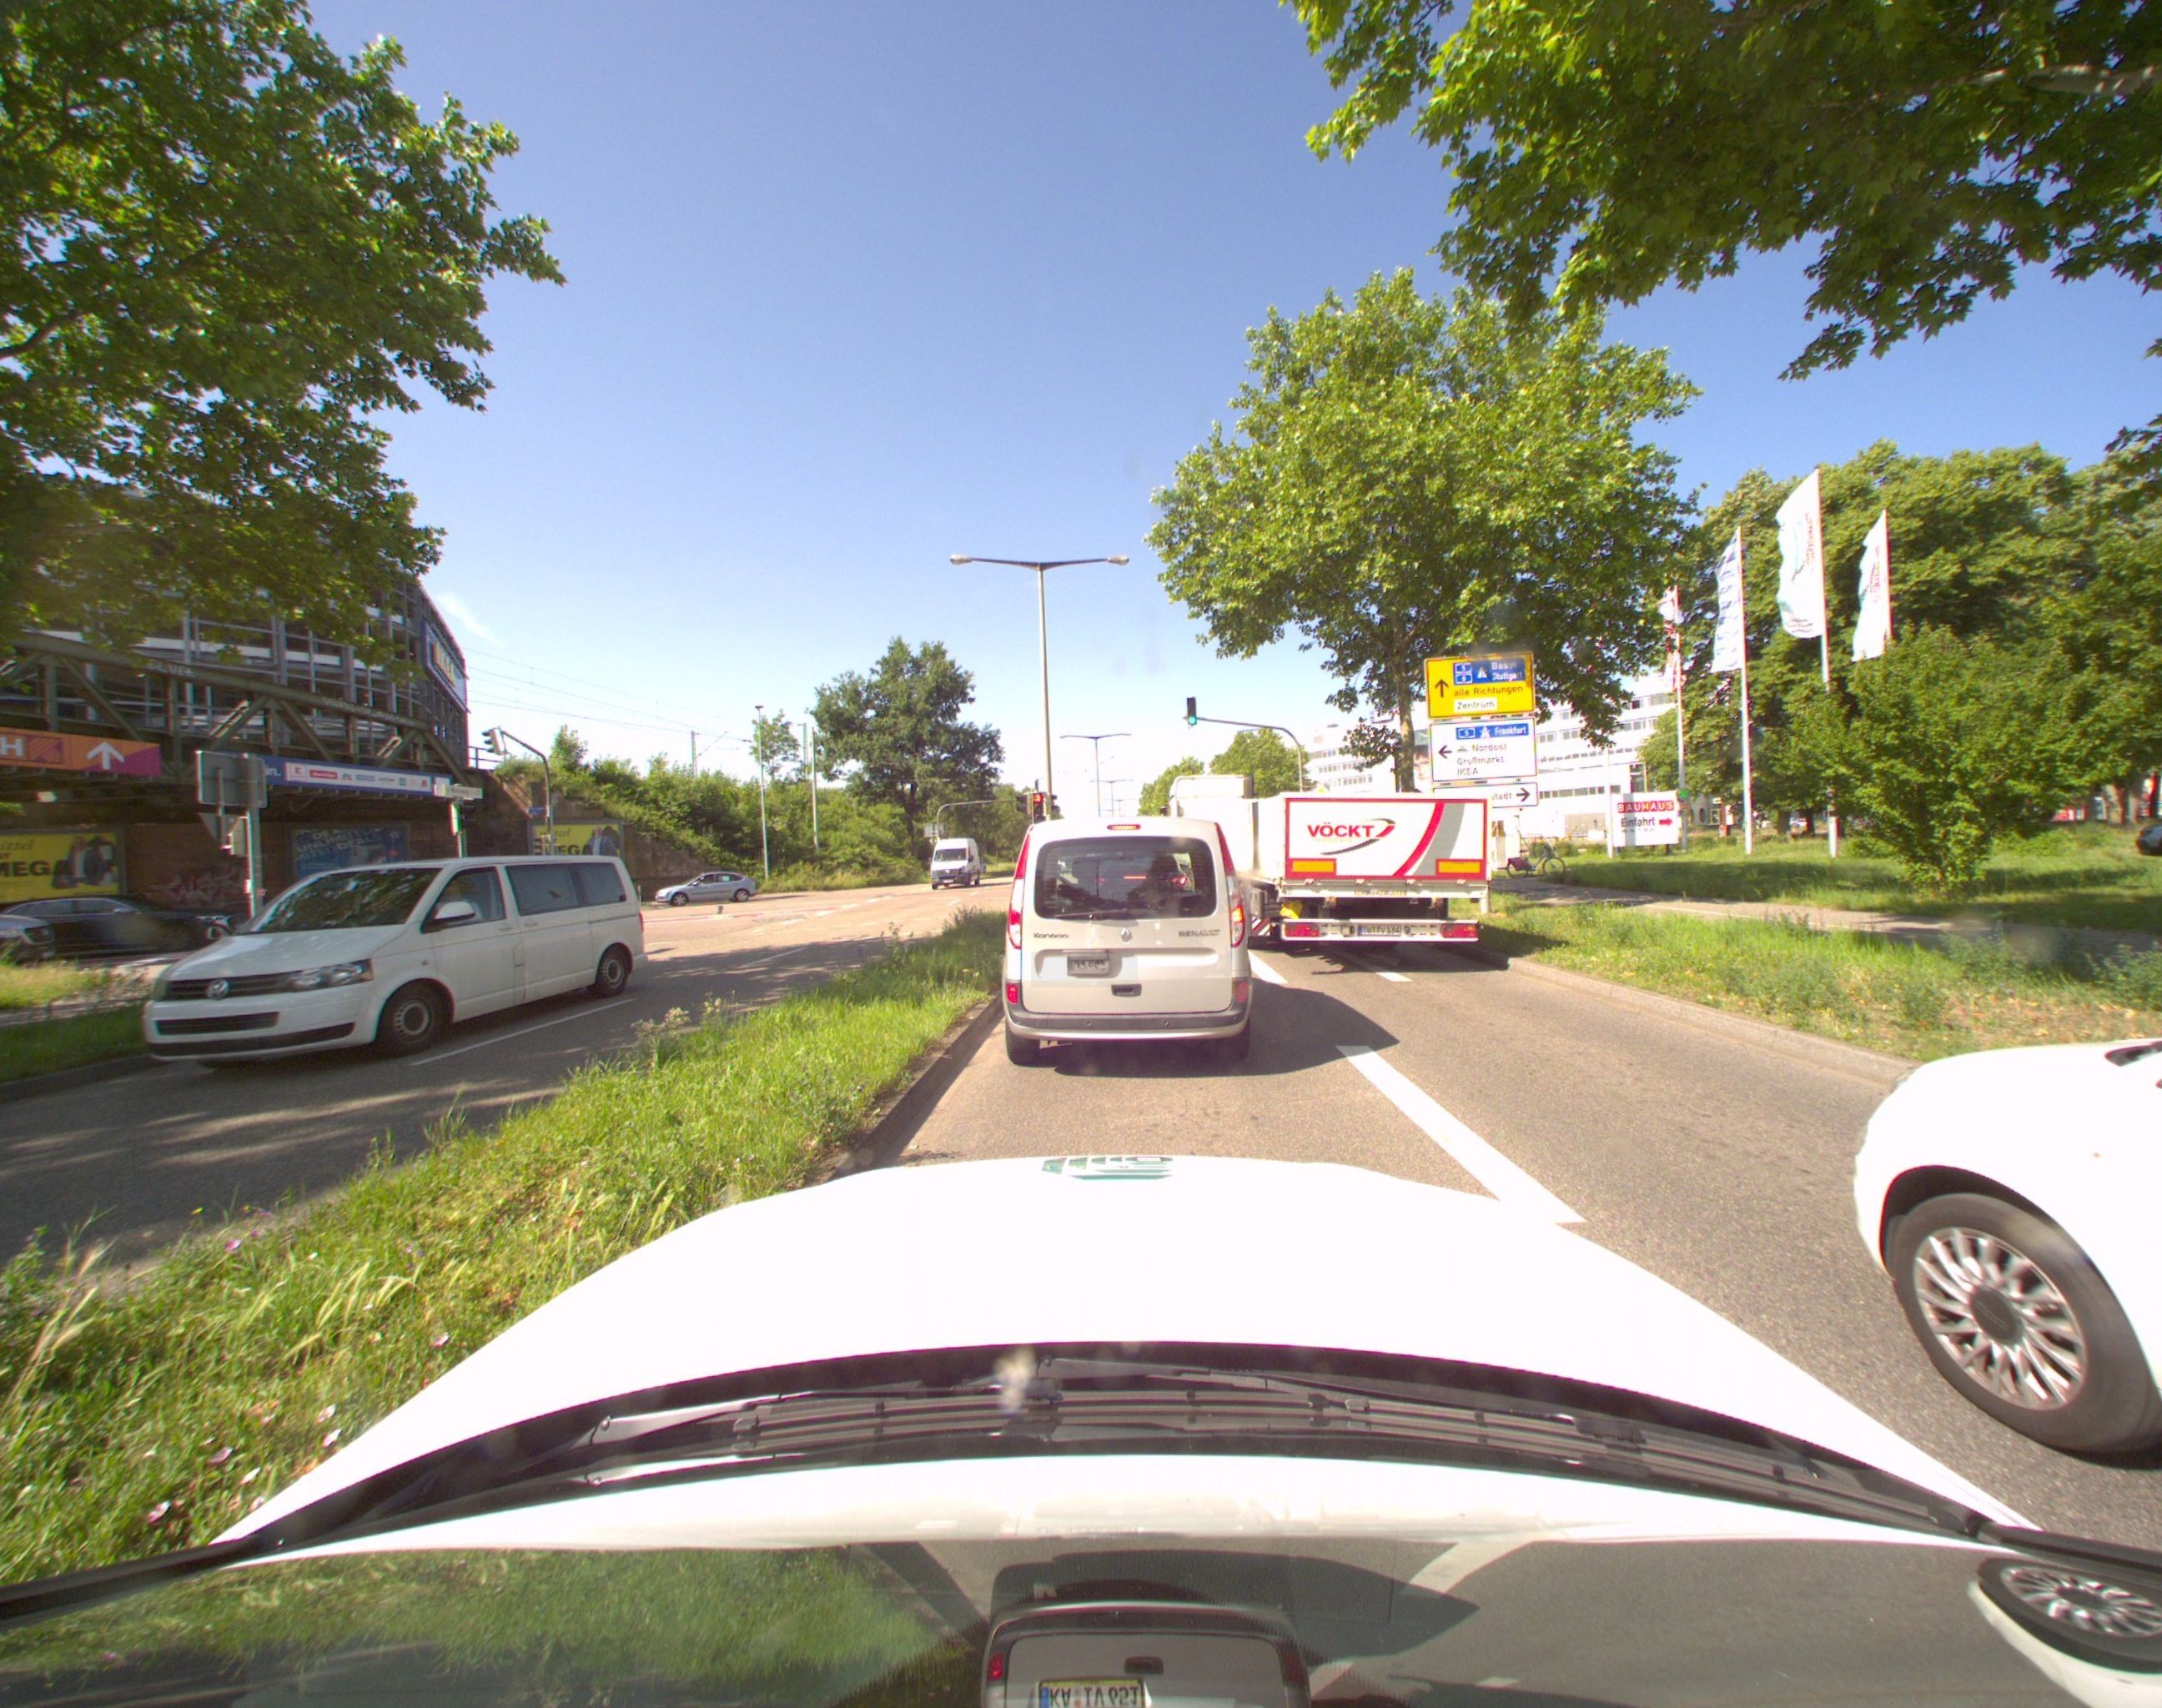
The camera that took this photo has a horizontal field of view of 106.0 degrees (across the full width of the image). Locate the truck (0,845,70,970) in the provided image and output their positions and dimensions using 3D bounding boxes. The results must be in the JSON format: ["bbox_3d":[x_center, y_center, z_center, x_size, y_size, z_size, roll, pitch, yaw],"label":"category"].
[{"bbox_3d":[-26.335,1.220,16.860,6.431,2.712,1.979,-1,-1,-34],"label":"truck"}]

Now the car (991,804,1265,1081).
[{"bbox_3d":[0.382,0.586,7.270,1.742,1.772,3.951,-1,0,2],"label":"car"}]

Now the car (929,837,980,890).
[{"bbox_3d":[-6.713,0.481,43.817,2.054,2.614,5.862,-1,0,-3],"label":"car"}]

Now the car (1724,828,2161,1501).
[{"bbox_3d":[3.081,0.644,1.189,1.654,1.436,3.523,-1,0,4],"label":"car"}]

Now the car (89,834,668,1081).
[{"bbox_3d":[-7.062,0.867,9.205,1.986,1.891,4.990,-4,0,2],"label":"car"}]

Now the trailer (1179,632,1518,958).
[{"bbox_3d":[3.838,-0.656,15.619,3.004,3.740,12.249,-1,0,3],"label":"trailer"}]

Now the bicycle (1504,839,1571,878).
[{"bbox_3d":[15.014,0.156,26.828,1.815,1.214,0.634,-1,-1,7],"label":"bicycle"}]

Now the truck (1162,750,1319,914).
[{"bbox_3d":[4.081,-0.492,22.694,3.060,3.758,7.479,-1,0,2],"label":"truck"}]

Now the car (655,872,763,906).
[{"bbox_3d":[-17.231,1.576,37.769,4.246,1.409,1.896,-1,0,-36],"label":"car"}]

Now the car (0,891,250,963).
[{"bbox_3d":[-26.102,1.908,21.870,5.074,1.596,1.510,-1,0,-35],"label":"car"}]
